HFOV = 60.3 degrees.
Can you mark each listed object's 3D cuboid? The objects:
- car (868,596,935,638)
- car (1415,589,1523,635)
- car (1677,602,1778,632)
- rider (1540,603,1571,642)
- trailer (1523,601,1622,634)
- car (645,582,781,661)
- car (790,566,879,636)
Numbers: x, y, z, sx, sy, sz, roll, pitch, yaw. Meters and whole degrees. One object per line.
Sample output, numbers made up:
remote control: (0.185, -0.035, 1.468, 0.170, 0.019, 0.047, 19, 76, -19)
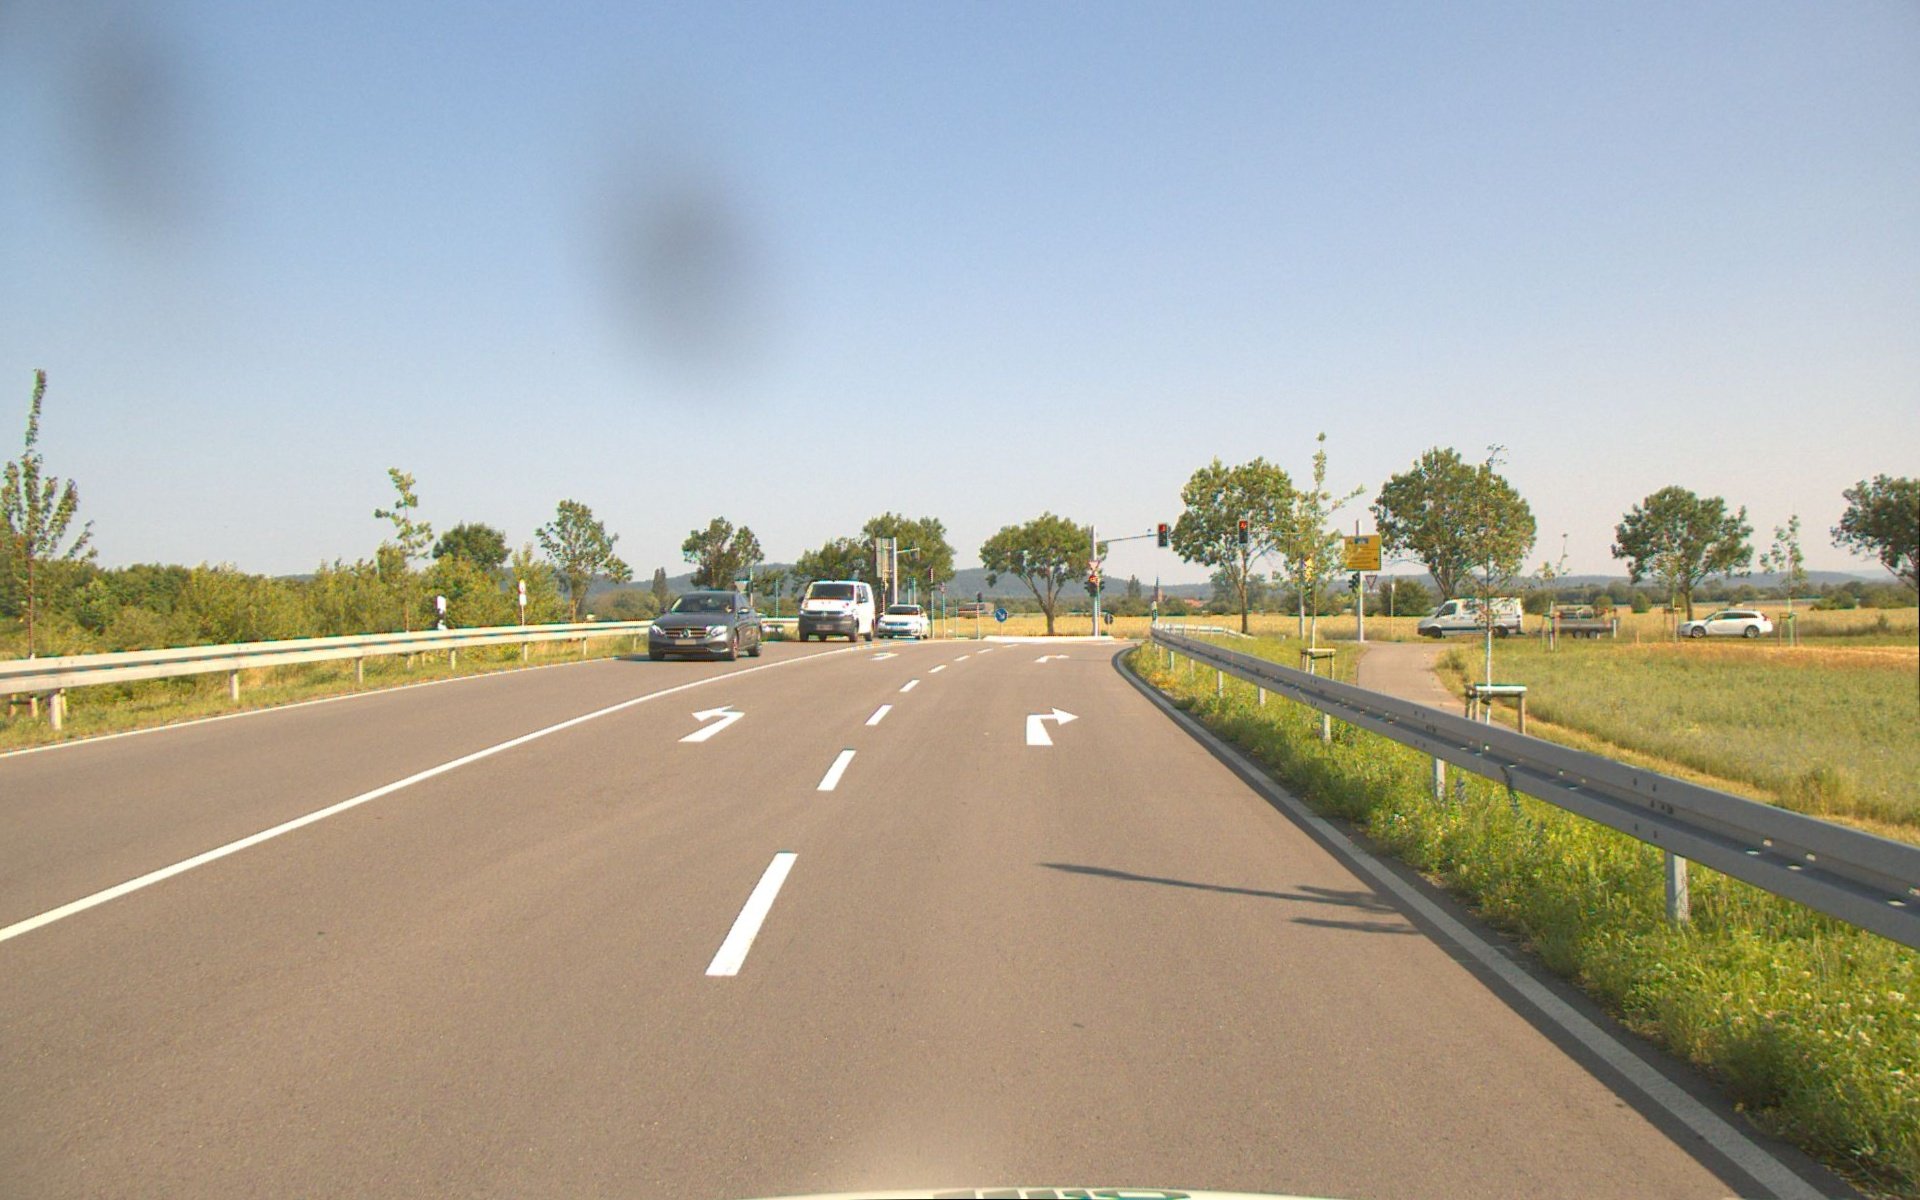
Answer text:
car: (-2.457, 0.716, 70.996, 2.070, 1.519, 5.158, 1, 2, 7)
car: (29.103, 0.676, 94.620, 5.833, 2.536, 2.000, 1, -1, 19)
car: (41.991, 0.946, 90.626, 4.765, 1.536, 2.001, 1, -1, 16)
rider: (25.999, 0.964, 72.190, 0.809, 1.671, 0.982, -1, 0, -28)
trailer: (34.318, 0.981, 92.822, 5.151, 1.784, 1.954, -1, -1, 19)
car: (-5.361, 0.427, 36.538, 1.756, 1.473, 4.710, 1, 2, 7)
car: (-4.050, -0.026, 54.266, 2.070, 2.048, 5.158, 1, 2, 5)
